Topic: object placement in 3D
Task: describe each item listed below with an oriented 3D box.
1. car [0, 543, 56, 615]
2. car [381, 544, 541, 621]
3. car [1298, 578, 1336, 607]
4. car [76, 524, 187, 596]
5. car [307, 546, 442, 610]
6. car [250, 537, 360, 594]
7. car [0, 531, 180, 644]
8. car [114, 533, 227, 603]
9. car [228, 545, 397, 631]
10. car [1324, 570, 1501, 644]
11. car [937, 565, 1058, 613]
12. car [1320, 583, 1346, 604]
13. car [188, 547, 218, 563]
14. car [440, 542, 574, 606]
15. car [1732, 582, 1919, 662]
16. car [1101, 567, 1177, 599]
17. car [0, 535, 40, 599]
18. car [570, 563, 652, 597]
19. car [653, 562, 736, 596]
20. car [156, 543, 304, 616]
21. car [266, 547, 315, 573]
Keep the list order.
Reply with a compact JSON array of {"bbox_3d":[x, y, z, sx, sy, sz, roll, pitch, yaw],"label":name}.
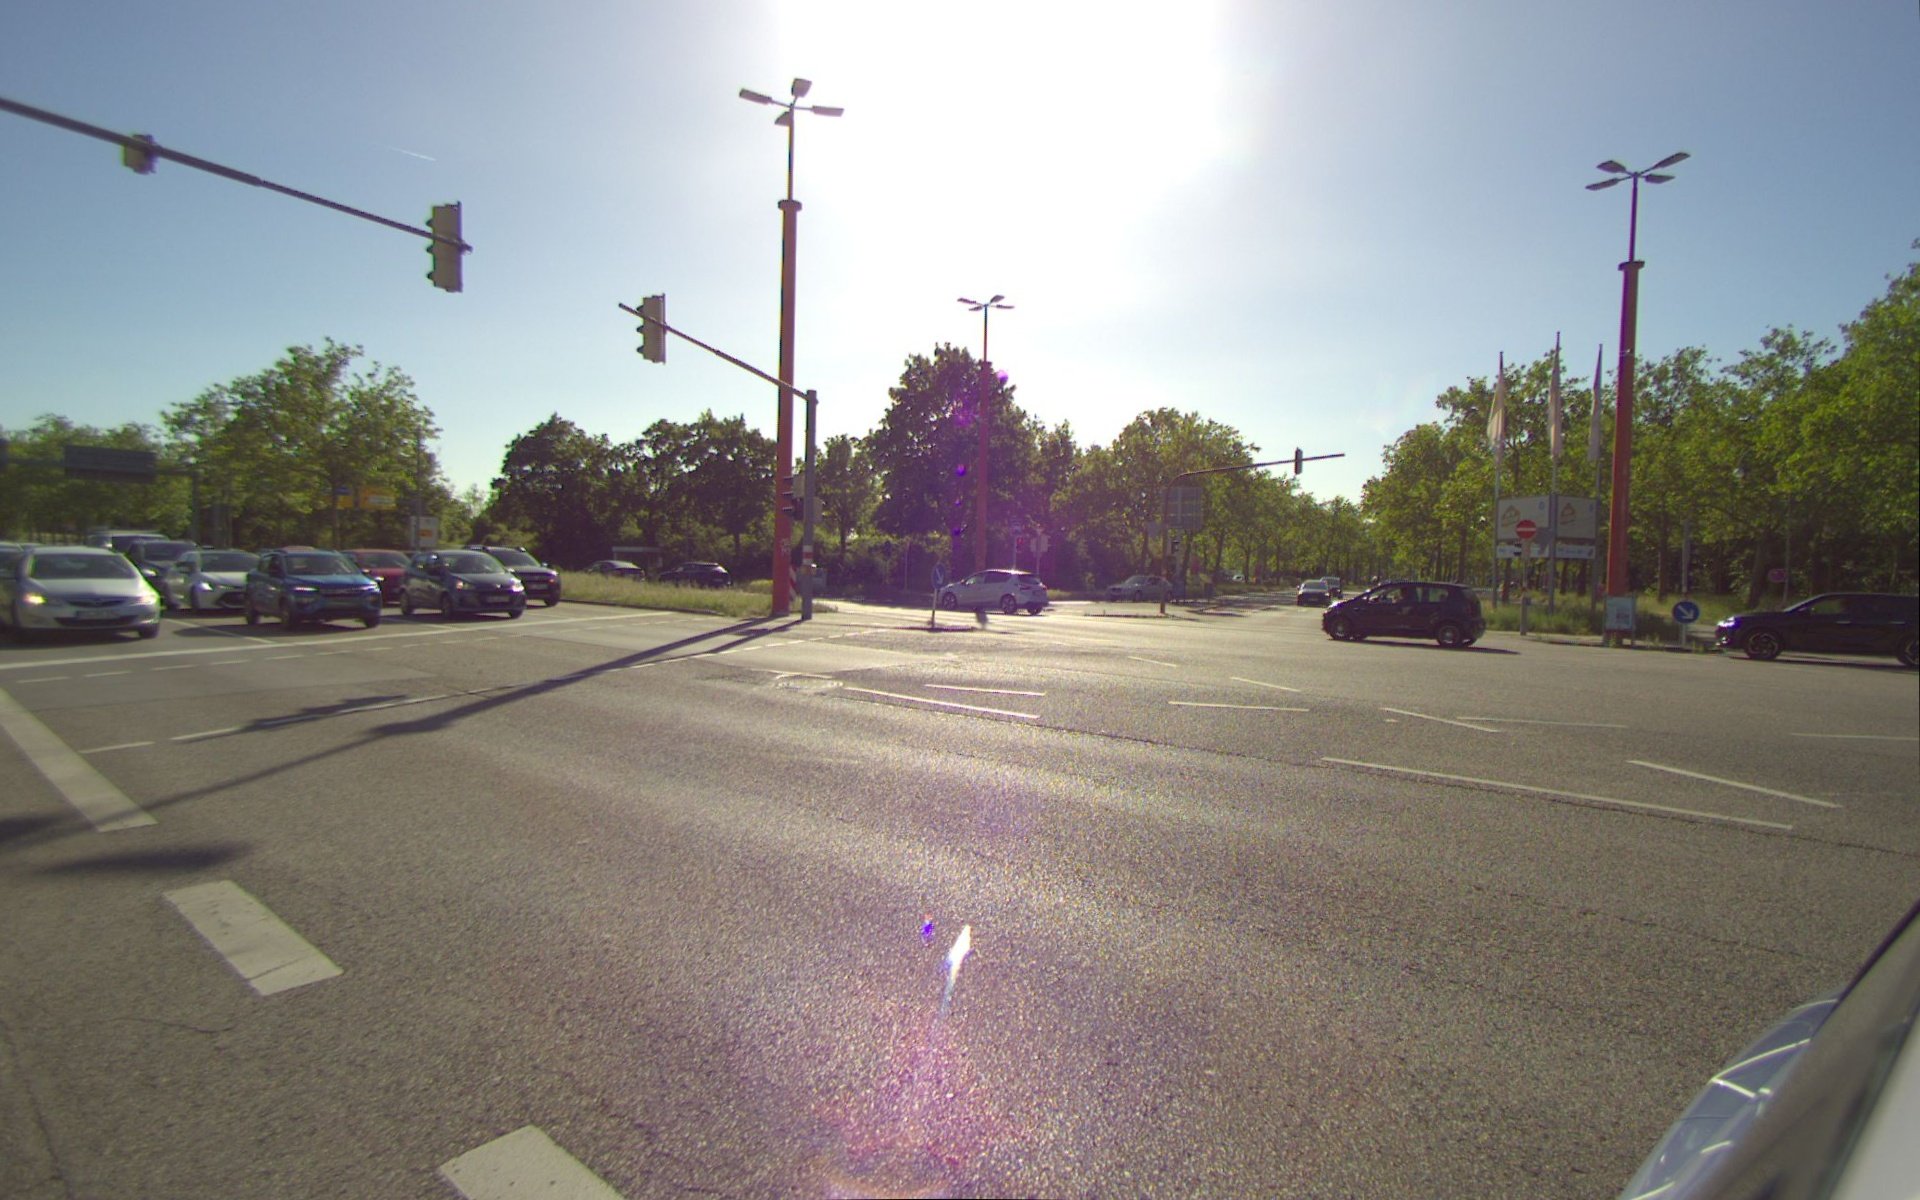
[{"bbox_3d":[-22.086,-0.524,22.968,3.984,1.531,1.863,3,3,41],"label":"car"},{"bbox_3d":[-11.496,-0.477,23.245,4.010,1.569,1.854,3,4,40],"label":"car"},{"bbox_3d":[19.972,-0.429,56.544,1.753,1.526,4.194,2,2,22],"label":"car"},{"bbox_3d":[-27.214,-1.318,33.186,5.059,2.181,1.940,3,2,40],"label":"car"},{"bbox_3d":[-16.035,-0.658,27.653,3.980,1.570,1.856,2,5,39],"label":"car"},{"bbox_3d":[-20.496,-1.073,31.616,3.985,1.650,1.879,2,1,42],"label":"car"},{"bbox_3d":[-14.785,-0.266,17.039,4.202,1.672,1.855,2,3,41],"label":"car"},{"bbox_3d":[-22.125,-0.917,28.324,3.985,1.806,1.852,3,2,42],"label":"car"},{"bbox_3d":[-12.780,-0.308,19.895,3.842,1.534,1.781,3,3,41],"label":"car"},{"bbox_3d":[10.486,0.127,23.531,3.437,1.512,1.599,3,1,40],"label":"car"},{"bbox_3d":[1.280,-0.407,35.946,4.120,1.536,1.702,3,1,41],"label":"car"},{"bbox_3d":[29.823,-0.502,80.888,1.754,1.527,4.192,2,0,23],"label":"car"},{"bbox_3d":[-81.865,-4.862,109.430,3.830,1.628,1.696,2,0,41],"label":"car"},{"bbox_3d":[-12.657,-0.779,28.195,4.124,1.646,1.774,3,3,39],"label":"car"},{"bbox_3d":[18.920,0.443,21.486,3.946,1.512,1.690,2,1,41],"label":"car"},{"bbox_3d":[9.475,-0.880,53.395,4.068,1.536,1.862,2,0,-44],"label":"car"},{"bbox_3d":[-26.674,-0.875,27.571,3.954,1.672,1.760,1,3,39],"label":"car"},{"bbox_3d":[-15.950,-0.932,46.176,4.032,1.437,1.699,3,1,40],"label":"car"},{"bbox_3d":[-12.662,-1.010,48.162,4.208,1.527,1.747,2,0,41],"label":"car"},{"bbox_3d":[-17.339,-0.533,23.984,3.980,1.574,1.881,2,3,39],"label":"car"},{"bbox_3d":[-50.210,-3.022,75.852,4.565,1.844,1.784,2,1,39],"label":"car"}]
